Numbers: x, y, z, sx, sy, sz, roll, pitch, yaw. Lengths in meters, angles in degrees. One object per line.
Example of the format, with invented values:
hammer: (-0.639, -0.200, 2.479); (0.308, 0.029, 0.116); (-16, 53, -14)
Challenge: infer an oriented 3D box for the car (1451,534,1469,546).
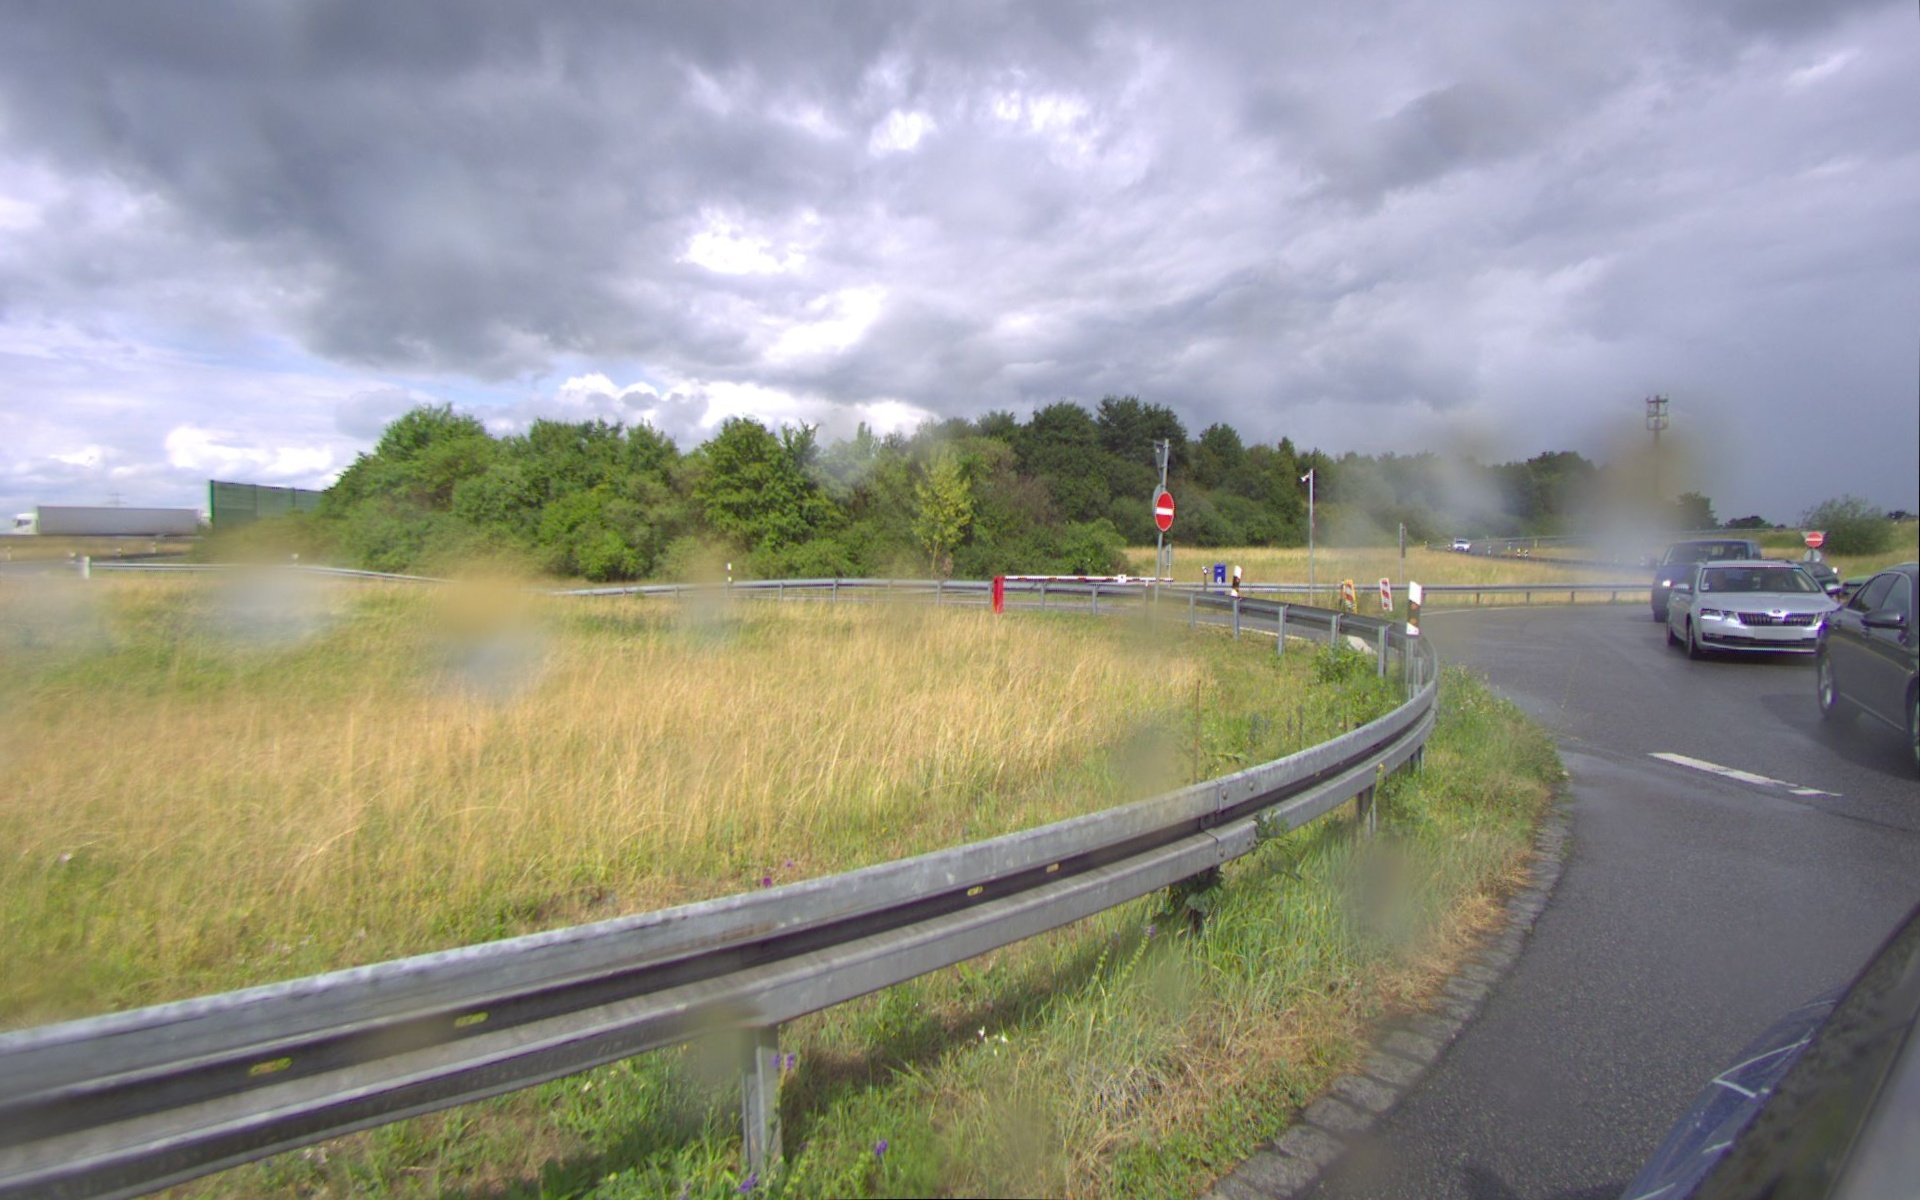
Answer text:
car: (60.356, -7.229, 122.220); (1.697, 1.305, 3.736); (1, 3, 30)

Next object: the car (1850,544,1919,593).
car: (31.625, -1.032, 33.035); (3.850, 1.555, 1.575); (0, 2, -4)

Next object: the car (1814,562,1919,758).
car: (8.158, 0.411, 7.686); (1.757, 1.408, 4.543); (1, 2, 30)

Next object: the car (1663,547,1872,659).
car: (11.903, -0.036, 15.212); (1.783, 1.415, 4.305); (0, 2, 30)

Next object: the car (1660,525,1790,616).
car: (18.543, -0.795, 24.416); (1.888, 1.938, 5.595); (1, 4, 44)

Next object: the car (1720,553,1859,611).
car: (23.140, -0.542, 28.219); (3.757, 1.502, 1.777); (-1, 3, -31)
